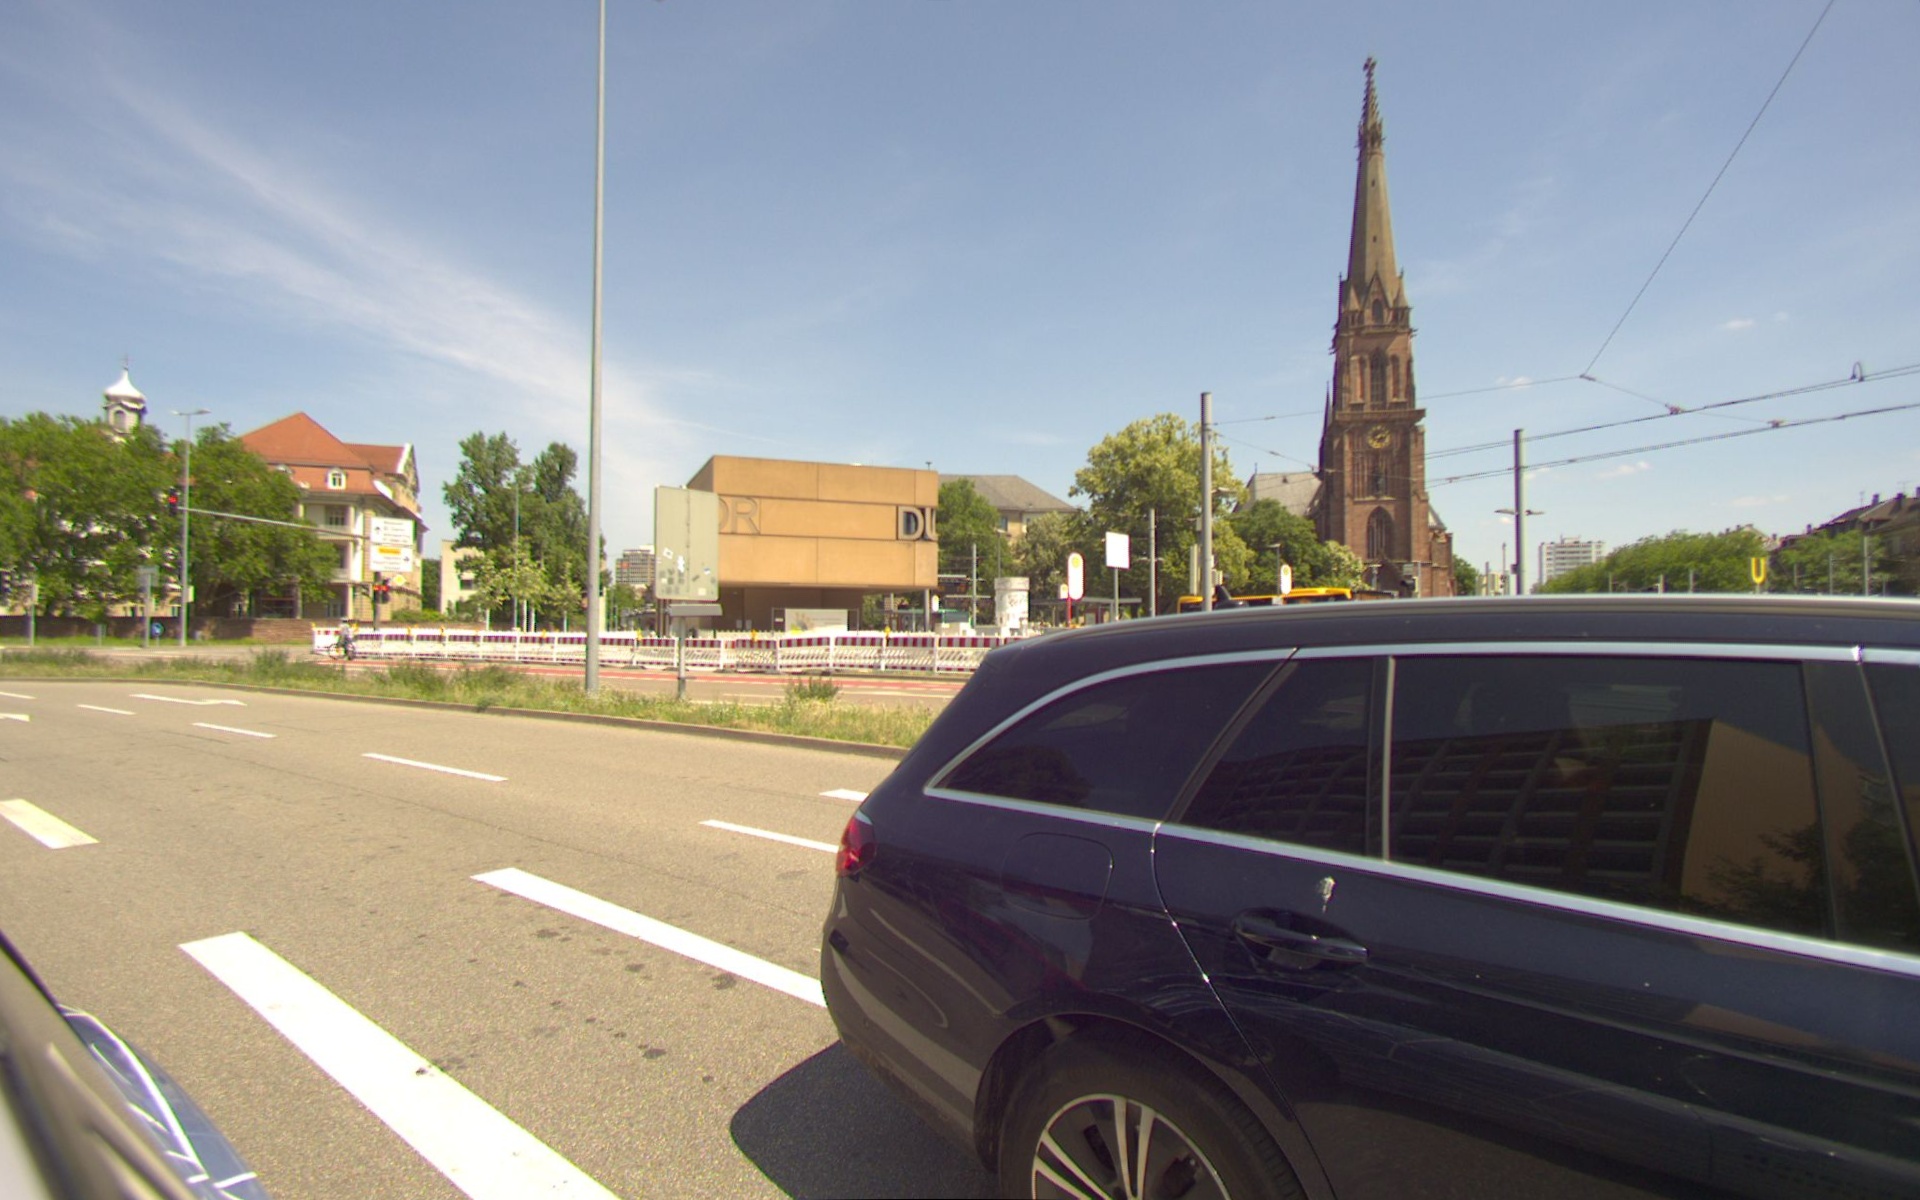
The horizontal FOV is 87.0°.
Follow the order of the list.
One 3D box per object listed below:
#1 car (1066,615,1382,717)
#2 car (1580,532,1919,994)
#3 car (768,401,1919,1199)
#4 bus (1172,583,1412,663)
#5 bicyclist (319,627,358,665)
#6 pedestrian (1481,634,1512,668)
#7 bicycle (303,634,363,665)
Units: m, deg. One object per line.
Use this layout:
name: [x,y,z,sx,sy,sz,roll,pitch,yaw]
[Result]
car: [4.323,1.041,17.149,4.846,1.476,1.972,-2,-3,43]
car: [4.519,0.559,3.554,3.736,1.588,1.725,-2,-3,42]
car: [1.923,0.602,1.461,4.803,1.653,1.778,-2,-1,42]
bus: [14.115,1.086,44.918,2.807,3.039,12.259,1,-2,-22]
bicyclist: [-23.222,1.710,37.805,1.432,1.366,0.581,-1,0,26]
pedestrian: [21.866,2.067,41.259,0.518,1.344,1.001,1,-2,-17]
bicycle: [-23.404,1.848,37.791,2.220,1.080,0.871,-1,0,26]
